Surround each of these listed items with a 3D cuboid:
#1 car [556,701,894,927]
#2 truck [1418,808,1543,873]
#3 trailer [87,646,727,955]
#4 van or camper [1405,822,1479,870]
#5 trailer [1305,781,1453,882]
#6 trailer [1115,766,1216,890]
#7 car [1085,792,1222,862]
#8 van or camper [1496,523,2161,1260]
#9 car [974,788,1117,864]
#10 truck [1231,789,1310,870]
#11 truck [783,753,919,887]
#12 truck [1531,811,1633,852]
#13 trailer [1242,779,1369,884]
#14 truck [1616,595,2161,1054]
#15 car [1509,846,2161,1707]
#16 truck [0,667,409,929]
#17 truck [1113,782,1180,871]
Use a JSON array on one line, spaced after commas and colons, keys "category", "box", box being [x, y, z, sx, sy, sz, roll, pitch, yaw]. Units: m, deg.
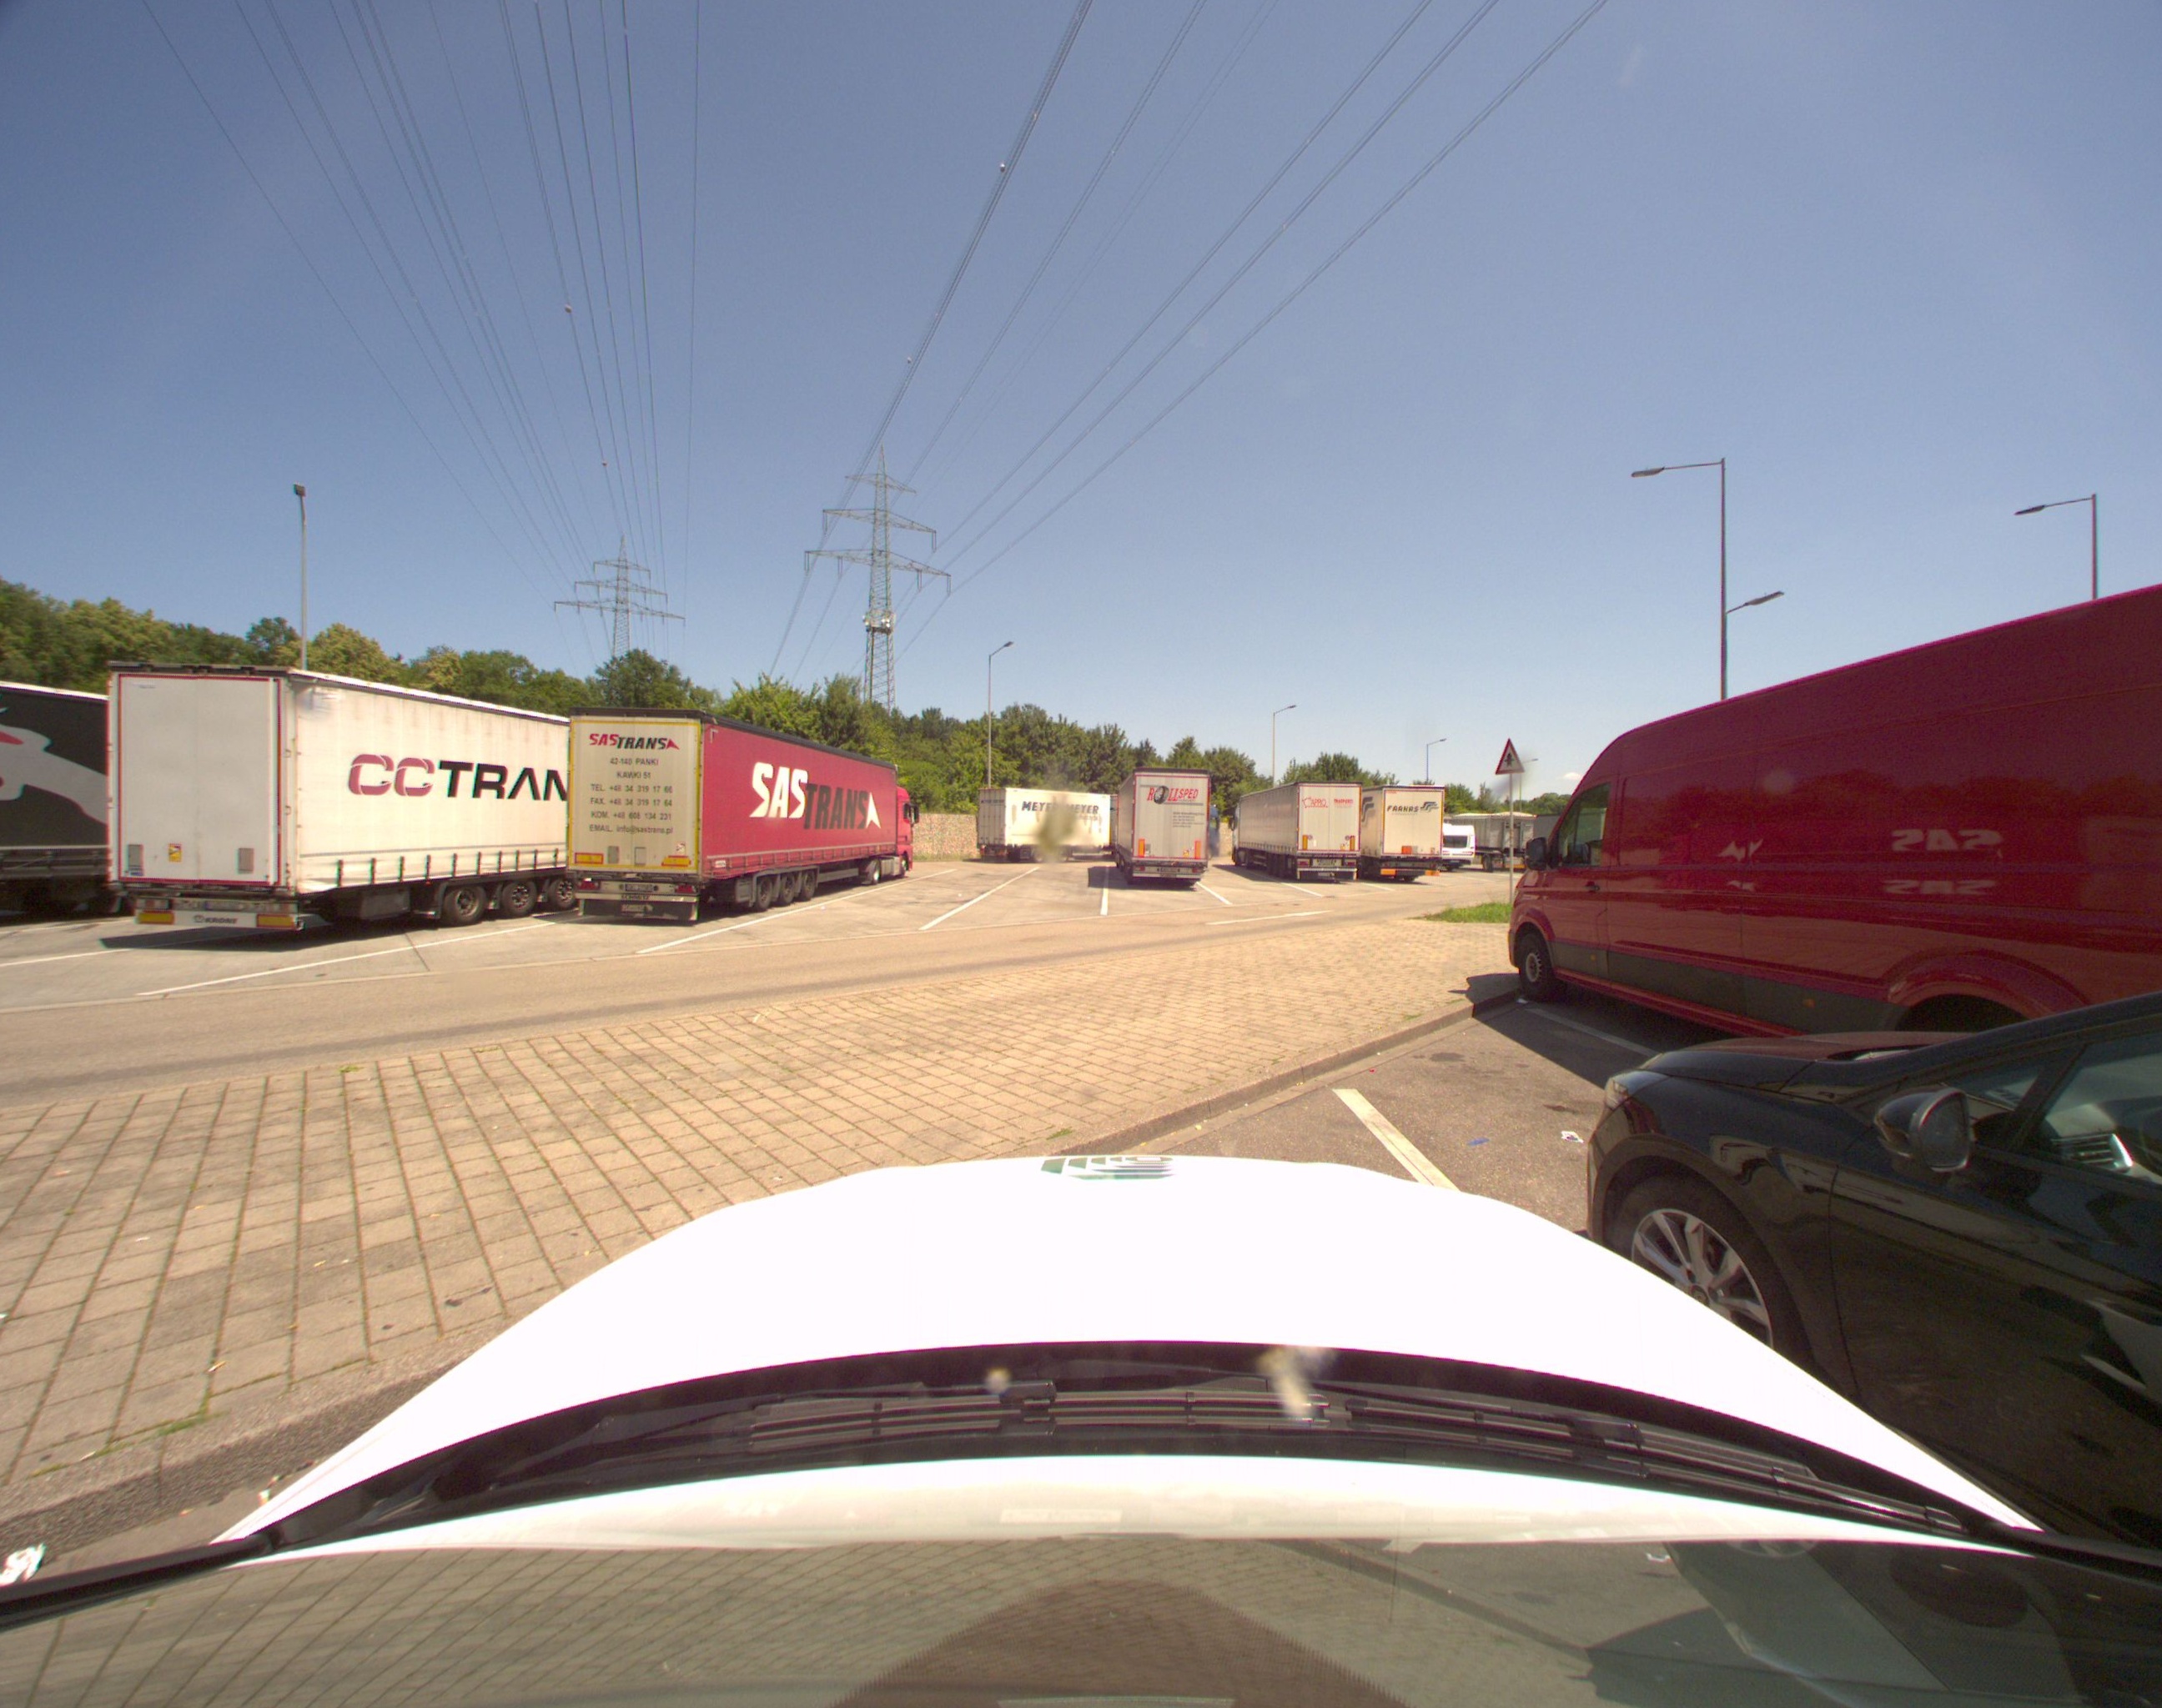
[{"category": "car", "box": [-8.041, -0.938, 21.415, 2.686, 4.112, 12.943, 1, 2, 2]}, {"category": "truck", "box": [24.310, -0.972, 50.481, 2.478, 3.568, 11.429, 0, 2, 2]}, {"category": "trailer", "box": [-12.155, -0.978, 17.772, 2.803, 4.266, 12.947, 0, 2, 2]}, {"category": "van or camper", "box": [20.601, -0.480, 46.722, 2.096, 2.561, 5.376, -1, 1, 3]}, {"category": "trailer", "box": [13.651, -1.135, 38.858, 2.856, 4.037, 12.445, 0, 2, 2]}, {"category": "trailer", "box": [3.054, -1.112, 33.711, 2.857, 4.037, 14.244, 0, 2, 1]}, {"category": "car", "box": [4.969, -1.739, 53.535, 10.272, 4.188, 2.657, -1, 3, -42]}, {"category": "van or camper", "box": [5.146, 0.091, 5.474, 1.986, 2.654, 6.490, -1, 1, 6]}, {"category": "car", "box": [-1.877, -1.594, 47.181, 8.515, 4.043, 2.656, -1, 3, -43]}, {"category": "truck", "box": [10.190, -1.378, 44.515, 2.856, 4.037, 6.960, 0, 2, 2]}, {"category": "truck", "box": [-7.741, -1.157, 28.332, 2.686, 4.112, 6.243, 1, 2, 2]}, {"category": "truck", "box": [38.045, -1.665, 62.358, 2.117, 2.820, 9.783, -1, 1, 2]}, {"category": "trailer", "box": [9.963, -1.114, 37.883, 2.856, 4.037, 12.445, 0, 2, 2]}, {"category": "truck", "box": [7.946, -0.221, 7.046, 2.455, 2.792, 6.978, 0, 1, 4]}, {"category": "car", "box": [2.462, 0.747, 1.123, 1.612, 1.483, 3.762, -1, 1, -4]}, {"category": "truck", "box": [-18.610, -1.022, 16.253, 2.803, 4.190, 8.793, 0, 2, 2]}, {"category": "truck", "box": [3.148, -1.401, 40.799, 2.857, 4.037, 7.029, 0, 2, 1]}]
